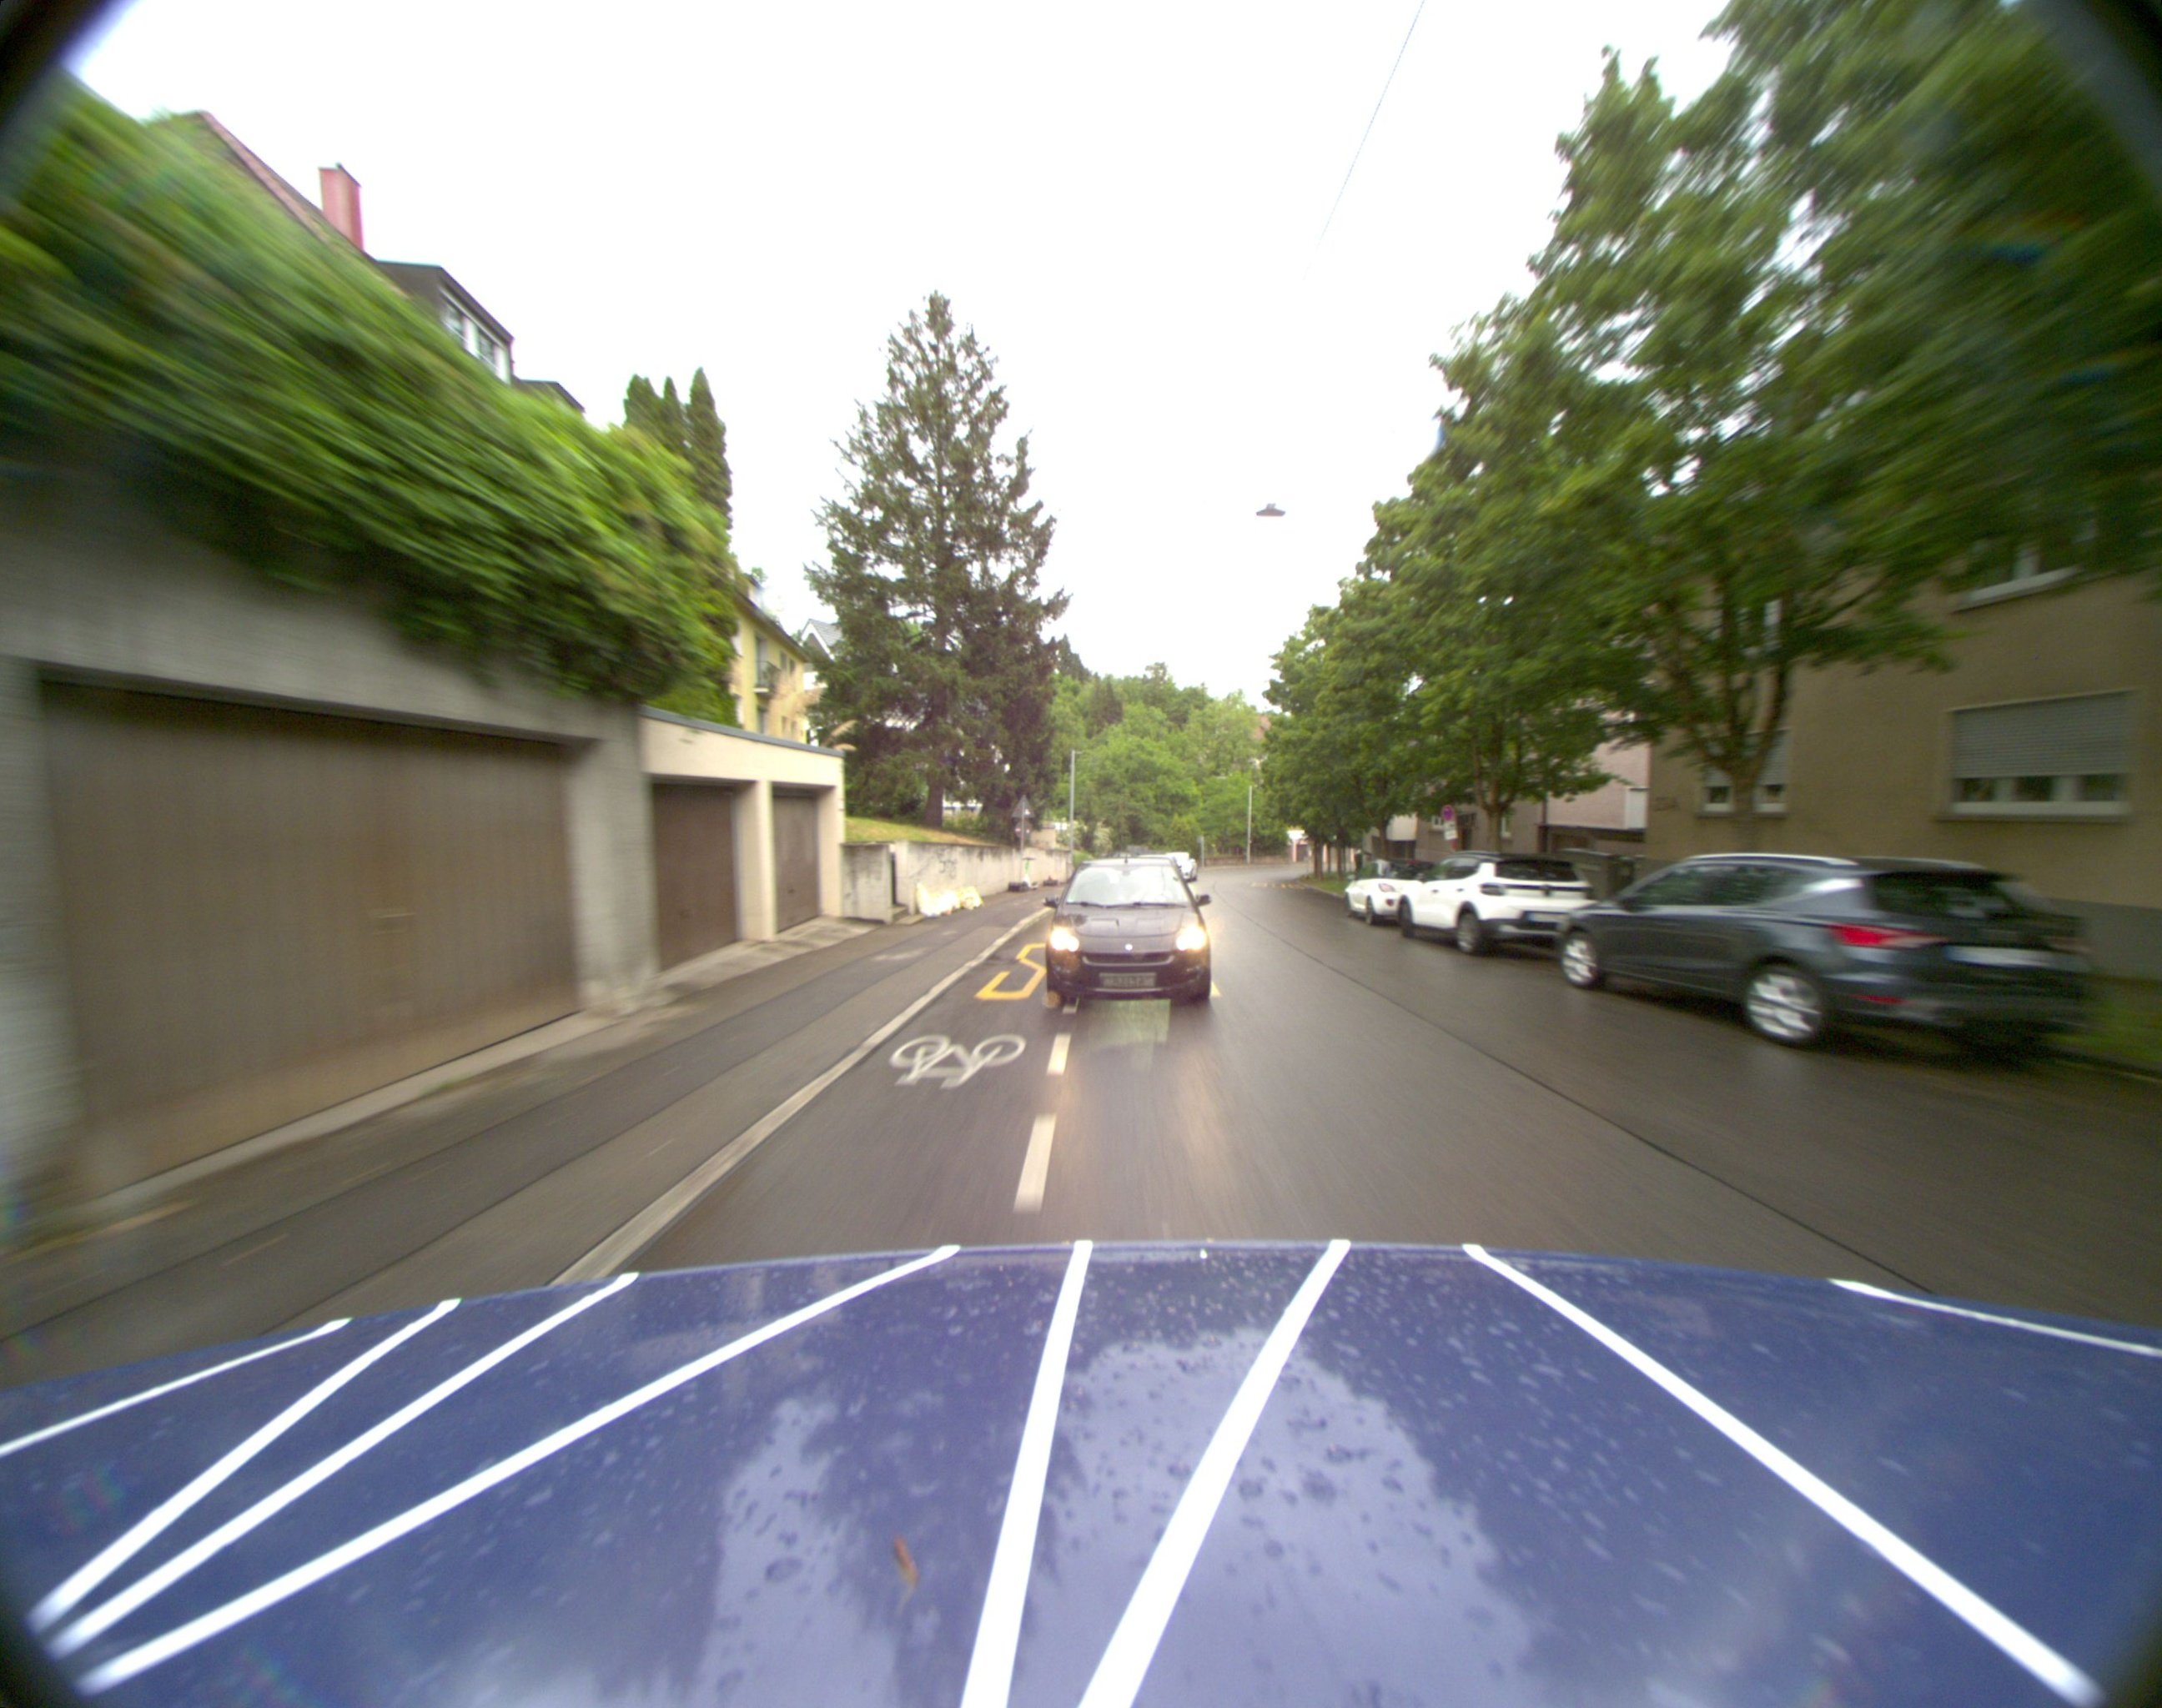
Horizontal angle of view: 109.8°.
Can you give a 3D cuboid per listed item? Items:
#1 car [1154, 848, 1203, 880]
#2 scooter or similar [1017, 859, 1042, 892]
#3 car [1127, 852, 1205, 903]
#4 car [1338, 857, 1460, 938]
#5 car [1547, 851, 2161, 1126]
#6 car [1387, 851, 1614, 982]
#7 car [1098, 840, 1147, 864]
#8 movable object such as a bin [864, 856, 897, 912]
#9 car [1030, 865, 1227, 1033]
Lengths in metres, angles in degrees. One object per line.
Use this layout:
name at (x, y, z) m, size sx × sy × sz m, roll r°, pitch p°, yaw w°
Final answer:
car at (5.514, 0.499, 42.547) m, size 2.010 × 1.652 × 4.451 m, roll 1°, pitch 1°, yaw 16°
scooter or similar at (-1.827, 0.747, 27.046) m, size 0.599 × 1.126 × 1.371 m, roll 1°, pitch 1°, yaw 9°
car at (2.669, 0.697, 24.676) m, size 1.808 × 1.480 × 4.015 m, roll 1°, pitch 1°, yaw -4°
car at (7.123, 0.893, 17.383) m, size 1.620 × 1.463 × 3.670 m, roll 5°, pitch 1°, yaw 9°
car at (6.288, 0.875, 6.933) m, size 1.622 × 1.649 × 3.923 m, roll 4°, pitch 1°, yaw 2°
car at (6.627, 0.859, 12.550) m, size 1.596 × 1.649 × 3.923 m, roll 5°, pitch 1°, yaw 3°
car at (3.271, -0.169, 59.354) m, size 3.462 × 1.623 × 1.581 m, roll 3°, pitch 2°, yaw 14°
movable object such as a bin at (-4.042, 0.597, 15.338) m, size 0.482 × 1.086 × 0.493 m, roll 1°, pitch 1°, yaw 4°
car at (0.743, 0.876, 8.697) m, size 1.576 × 1.444 × 3.591 m, roll 0°, pitch 0°, yaw 15°
